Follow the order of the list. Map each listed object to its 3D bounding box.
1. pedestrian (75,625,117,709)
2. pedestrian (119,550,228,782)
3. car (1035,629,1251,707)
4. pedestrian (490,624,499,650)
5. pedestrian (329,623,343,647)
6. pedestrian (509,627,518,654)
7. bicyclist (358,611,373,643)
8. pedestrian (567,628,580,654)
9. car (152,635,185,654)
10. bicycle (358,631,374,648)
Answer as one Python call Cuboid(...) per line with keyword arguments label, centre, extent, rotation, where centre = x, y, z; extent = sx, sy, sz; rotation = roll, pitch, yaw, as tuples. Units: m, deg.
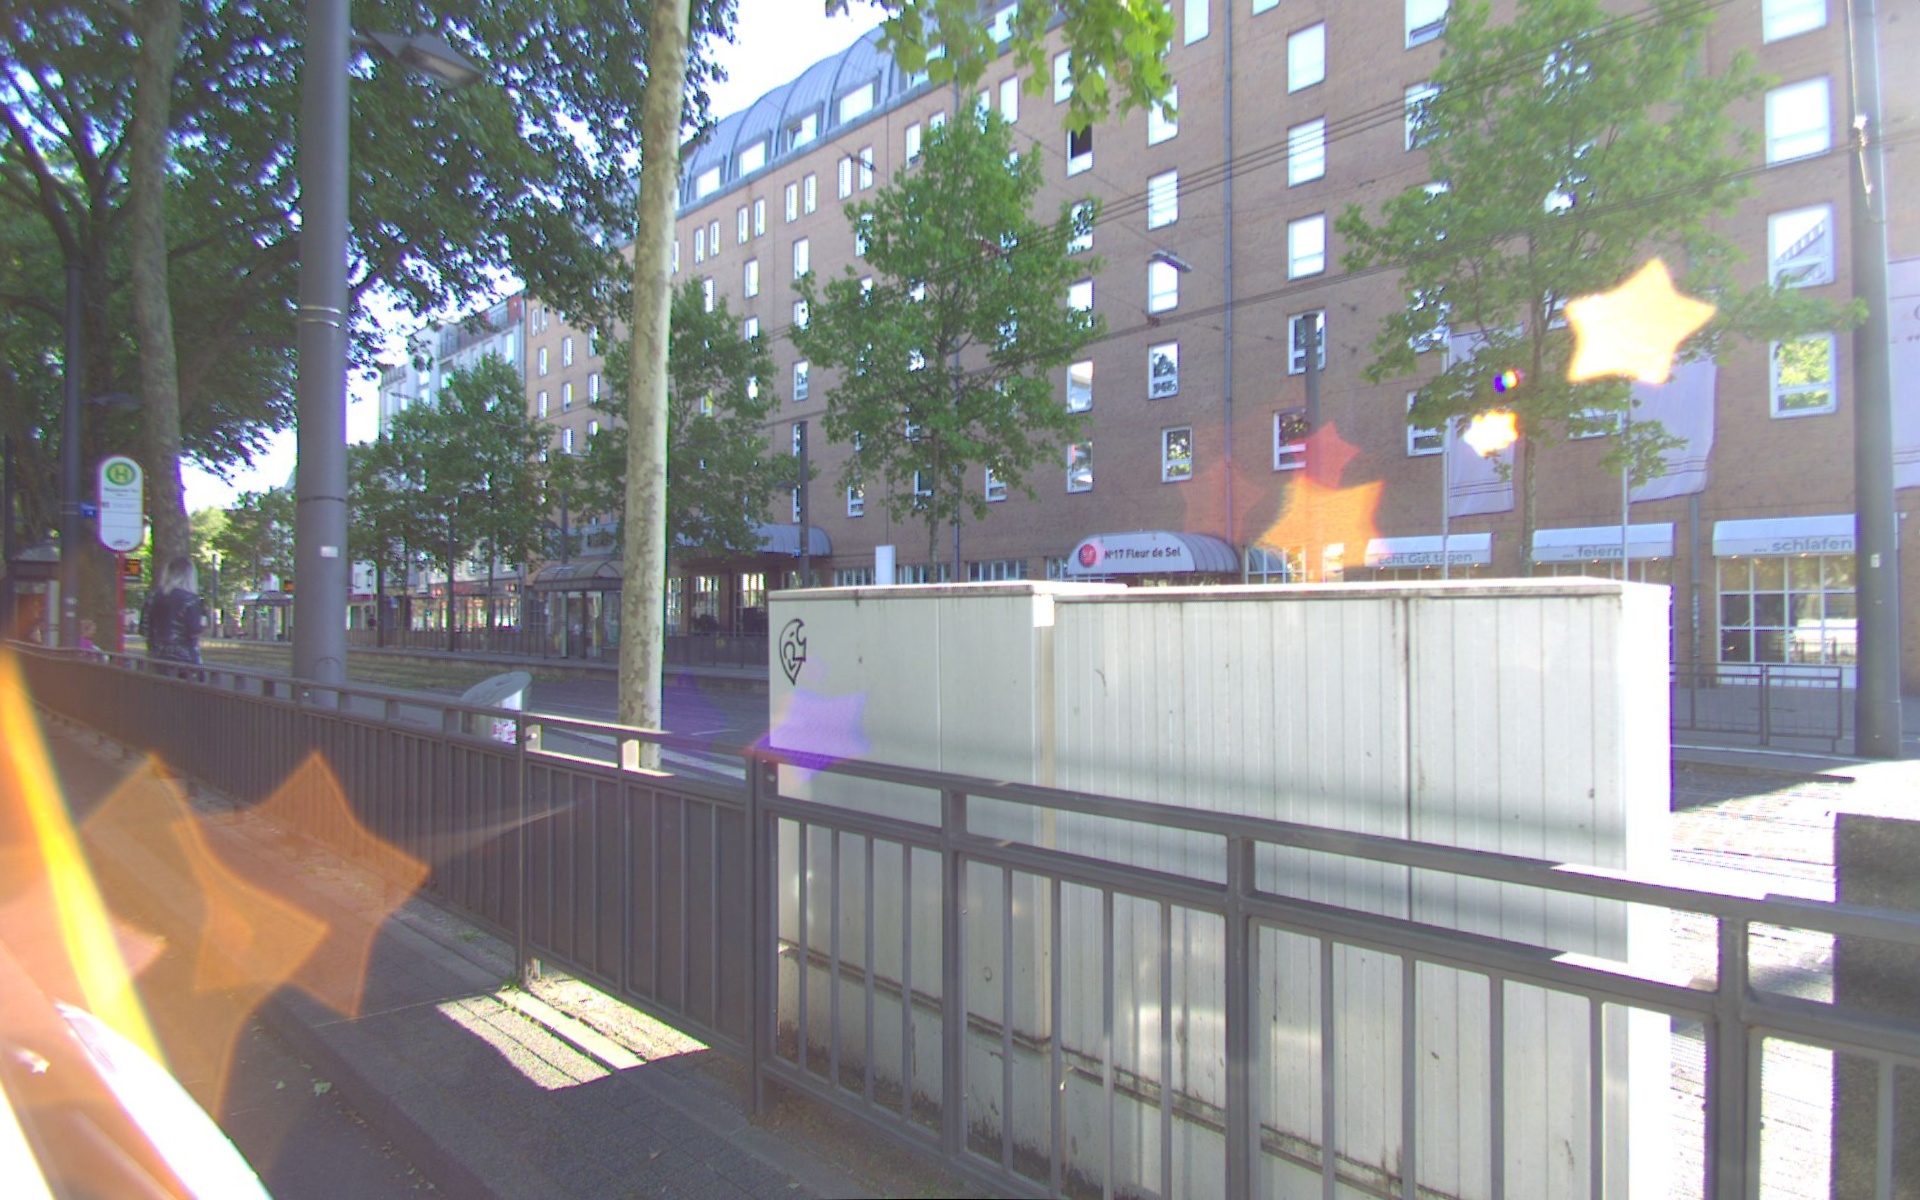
Cuboid(label="pedestrian", centre=(-13.956, 1.064, 16.352), extent=(0.493, 1.325, 0.419), rotation=(1, -2, -41))
Cuboid(label="pedestrian", centre=(-6.749, 0.541, 8.710), extent=(0.596, 1.897, 0.625), rotation=(1, 0, -26))
Cuboid(label="car", centre=(3.860, 1.386, 21.789), extent=(4.306, 1.500, 1.737), rotation=(-1, -2, 41))
Cuboid(label="pedestrian", centre=(-26.949, 2.146, 58.606), extent=(0.431, 1.518, 0.660), rotation=(1, -2, -27))
Cuboid(label="pedestrian", centre=(-52.859, 2.985, 85.719), extent=(0.763, 2.029, 0.796), rotation=(-2, -2, 41))
Cuboid(label="pedestrian", centre=(-26.008, 2.342, 58.956), extent=(0.431, 1.532, 0.660), rotation=(1, -2, -27))
Cuboid(label="bicyclist", centre=(-36.032, 1.623, 61.355), extent=(0.564, 1.918, 0.814), rotation=(2, -2, -43))
Cuboid(label="pedestrian", centre=(-21.861, 2.322, 57.269), extent=(0.516, 1.447, 0.512), rotation=(-2, -2, 44))
Cuboid(label="car", centre=(-81.755, 4.545, 104.567), extent=(3.998, 1.874, 1.973), rotation=(-1, -2, 41))
Cuboid(label="bicycle", centre=(-36.068, 2.410, 61.448), extent=(0.444, 1.012, 1.754), rotation=(2, -2, -44))
